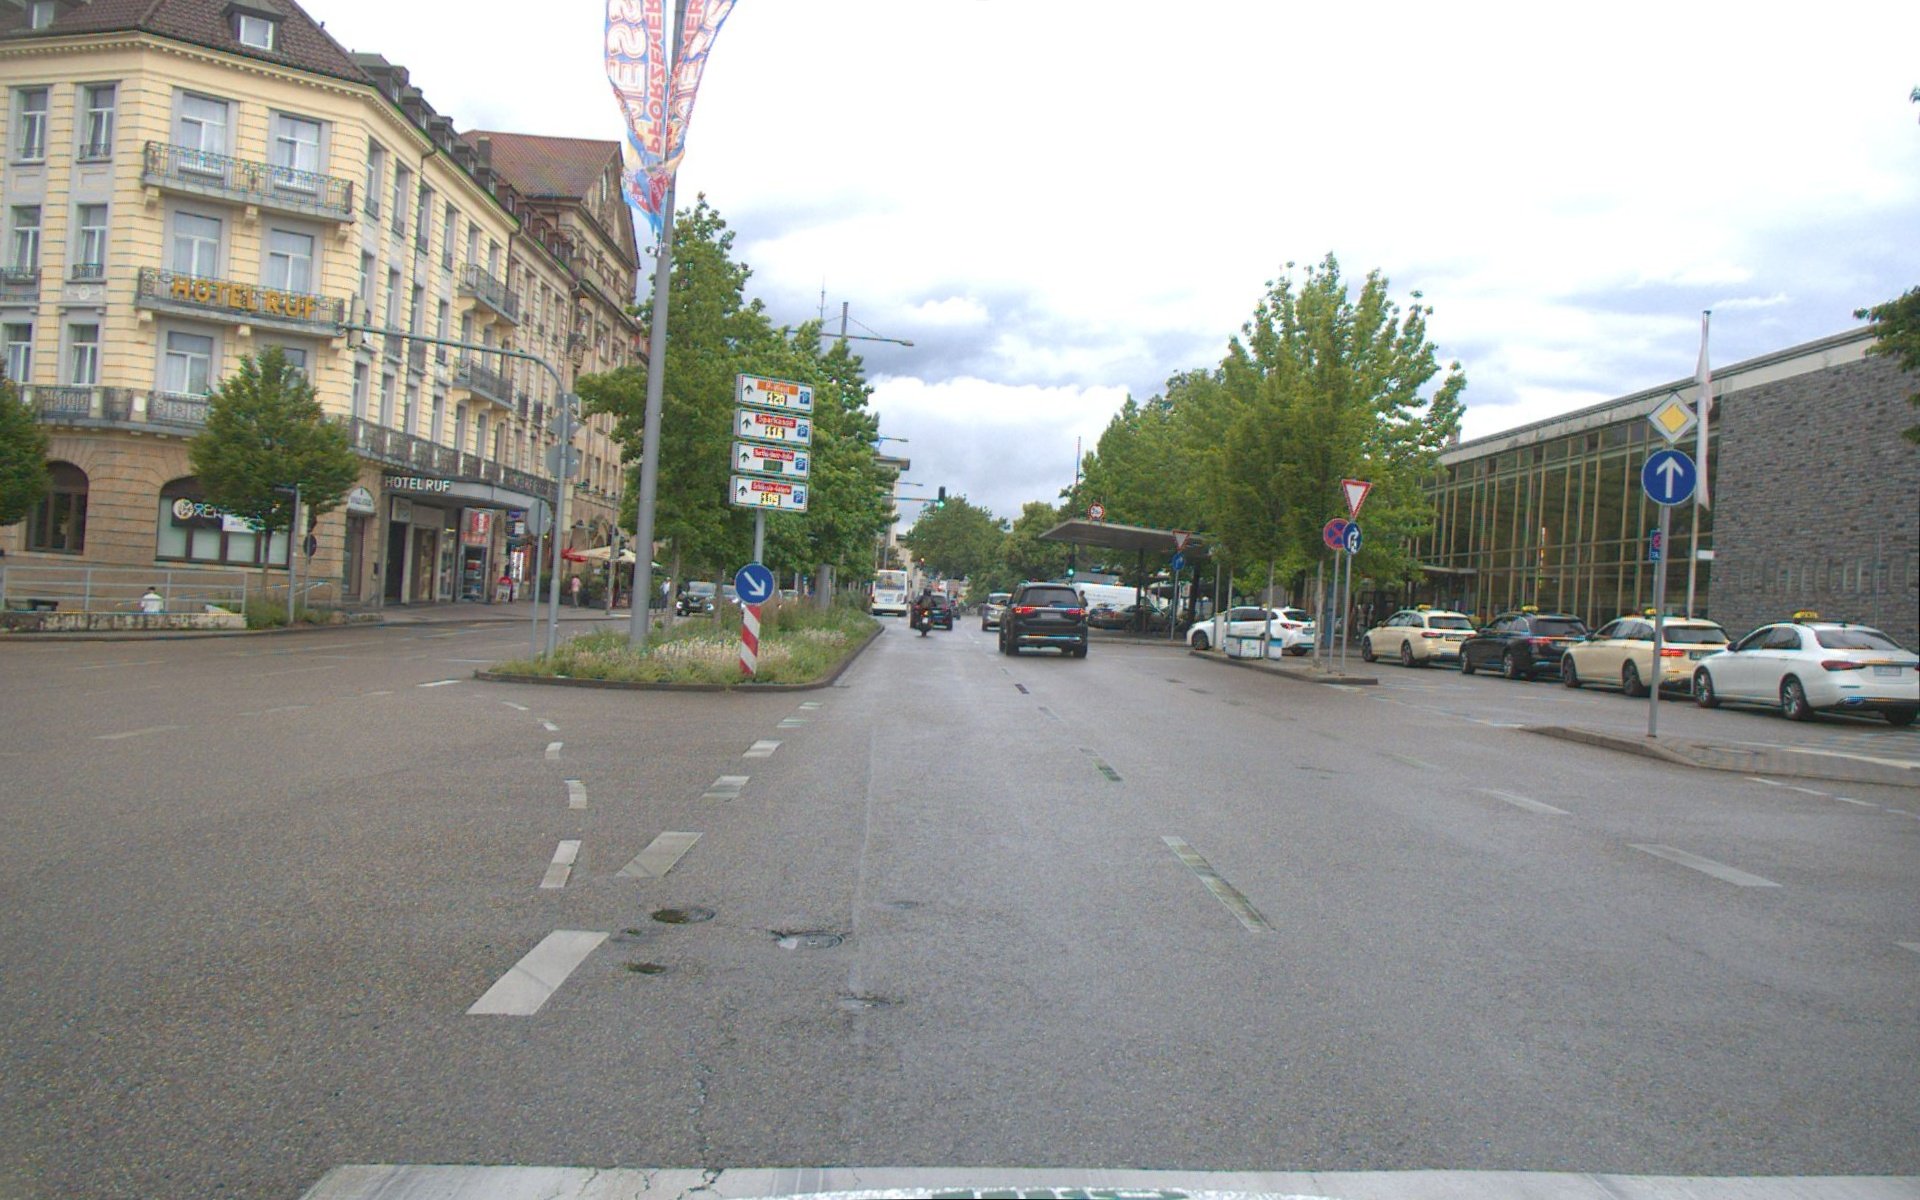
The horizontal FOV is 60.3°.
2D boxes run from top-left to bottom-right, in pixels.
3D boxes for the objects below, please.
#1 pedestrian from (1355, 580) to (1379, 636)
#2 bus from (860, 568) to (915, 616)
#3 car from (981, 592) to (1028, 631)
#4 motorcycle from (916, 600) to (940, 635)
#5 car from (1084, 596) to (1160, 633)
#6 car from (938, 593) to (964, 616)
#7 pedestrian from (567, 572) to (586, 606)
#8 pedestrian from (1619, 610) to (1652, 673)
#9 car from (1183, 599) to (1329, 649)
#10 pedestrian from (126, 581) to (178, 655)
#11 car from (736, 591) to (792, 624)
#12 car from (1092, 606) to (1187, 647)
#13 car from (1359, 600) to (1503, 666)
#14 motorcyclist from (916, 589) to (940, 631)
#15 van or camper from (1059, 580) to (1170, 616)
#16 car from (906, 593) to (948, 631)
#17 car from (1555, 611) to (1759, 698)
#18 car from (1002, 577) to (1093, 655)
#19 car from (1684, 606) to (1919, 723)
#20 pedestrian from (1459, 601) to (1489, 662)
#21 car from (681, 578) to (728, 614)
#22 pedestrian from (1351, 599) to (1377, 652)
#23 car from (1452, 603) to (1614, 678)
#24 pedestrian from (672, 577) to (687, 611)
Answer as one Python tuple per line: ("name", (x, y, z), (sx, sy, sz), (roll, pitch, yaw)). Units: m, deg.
("pedestrian", (18.178, 0.339, 73.900), (0.825, 2.453, 0.862), (1, 0, 1))
("bus", (-5.567, -0.576, 123.857), (3.686, 3.265, 15.513), (1, 0, -4))
("car", (1.881, 0.471, 70.595), (1.813, 1.594, 3.999), (1, 0, -1))
("motorcycle", (-1.051, 0.576, 54.521), (0.750, 1.095, 2.175), (2, 0, -1))
("car", (9.470, 0.837, 96.770), (3.929, 2.049, 1.988), (2, 0, -21))
("car", (-0.620, 0.287, 110.445), (1.673, 1.500, 3.999), (1, 0, -1))
("pedestrian", (-17.107, -0.489, 73.745), (0.656, 1.537, 0.512), (1, 0, -39))
("pedestrian", (18.380, 1.133, 45.008), (0.553, 1.675, 0.715), (1, 0, -6))
("car", (9.110, 0.737, 51.192), (1.764, 1.409, 4.303), (1, 0, -41))
("pedestrian", (-21.624, 0.477, 44.269), (0.845, 1.911, 1.022), (2, 0, -1))
("car", (-8.785, 0.331, 74.600), (1.688, 1.406, 4.861), (1, 0, 3))
("car", (8.946, 1.295, 82.385), (4.273, 1.890, 1.988), (2, 0, -21))
("car", (12.554, 0.847, 44.466), (1.956, 1.628, 4.814), (1, 0, -8))
("motorcyclist", (-1.046, 0.325, 54.528), (0.749, 1.355, 0.866), (2, 0, -1))
("van or camper", (9.650, -0.091, 103.090), (6.675, 2.049, 2.364), (1, -1, -27))
("car", (-1.364, 0.481, 68.475), (1.673, 1.473, 3.999), (1, 0, -1))
("car", (13.245, 0.988, 31.769), (1.809, 1.477, 4.664), (1, 0, -2))
("car", (2.165, 0.369, 42.100), (1.953, 1.837, 4.689), (1, 0, -1))
("car", (13.375, 0.945, 26.052), (1.739, 1.617, 4.614), (1, 0, -2))
("pedestrian", (14.832, 0.908, 47.724), (0.553, 1.739, 0.715), (2, 0, -6))
("car", (-11.583, -0.180, 75.139), (1.736, 1.557, 4.075), (1, 0, -4))
("pedestrian", (15.805, 0.986, 64.752), (0.754, 2.049, 0.828), (1, 0, -3))
("car", (13.055, 0.882, 37.989), (1.875, 1.551, 4.740), (1, 0, -3))
("pedestrian", (-14.698, -0.317, 86.667), (0.661, 1.731, 0.633), (1, 0, -1))
